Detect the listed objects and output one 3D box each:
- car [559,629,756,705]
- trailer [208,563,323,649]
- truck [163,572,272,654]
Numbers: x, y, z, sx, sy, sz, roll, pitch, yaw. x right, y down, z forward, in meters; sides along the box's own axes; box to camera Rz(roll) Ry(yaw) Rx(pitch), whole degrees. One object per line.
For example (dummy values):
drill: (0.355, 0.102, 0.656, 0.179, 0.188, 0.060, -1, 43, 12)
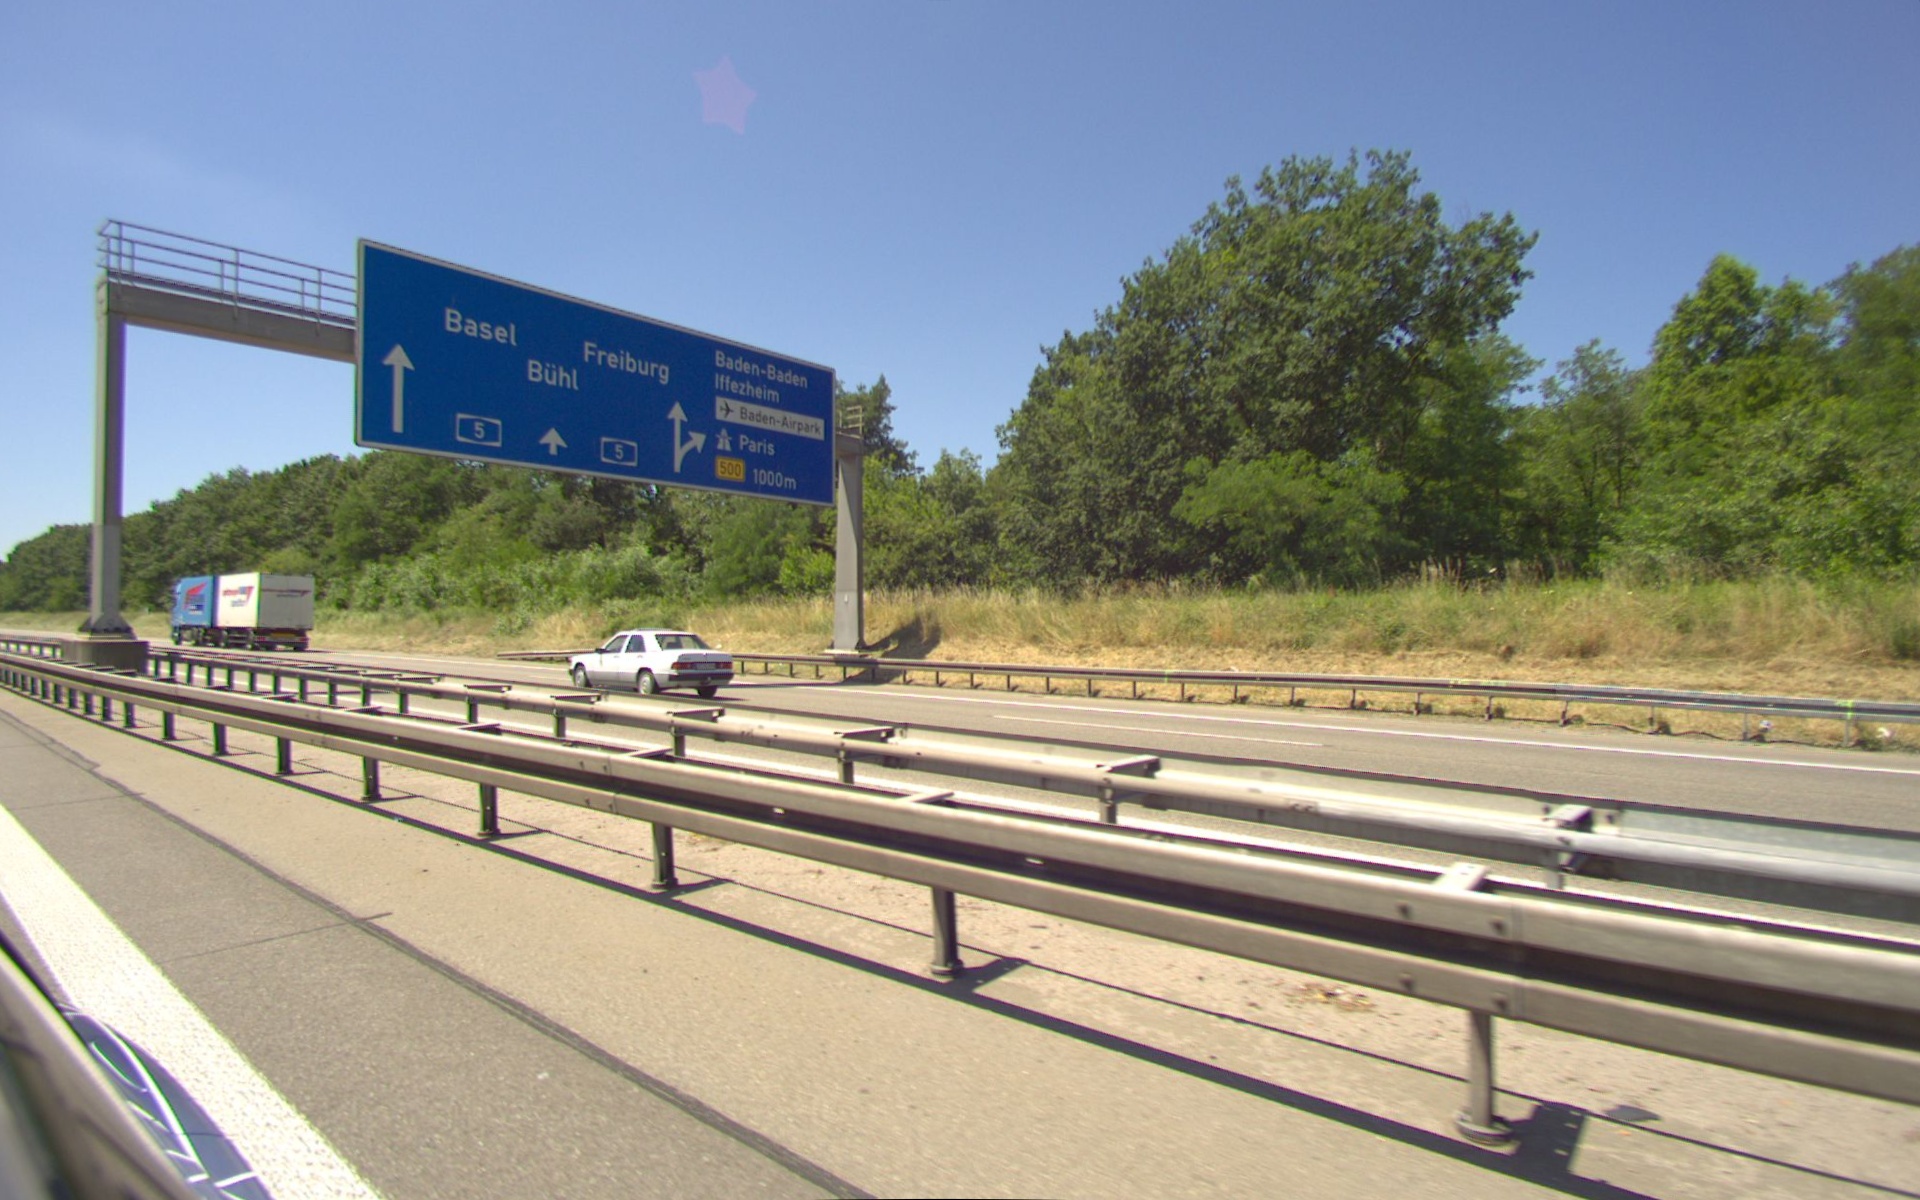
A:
car: (-6.474, 1.361, 21.456, 4.475, 1.406, 1.788, -1, -3, 39)
trailer: (-37.681, 0.396, 54.735, 8.631, 4.315, 3.026, -1, -2, 41)
truck: (-44.976, 0.832, 61.139, 10.454, 4.593, 3.026, -1, -3, 41)
